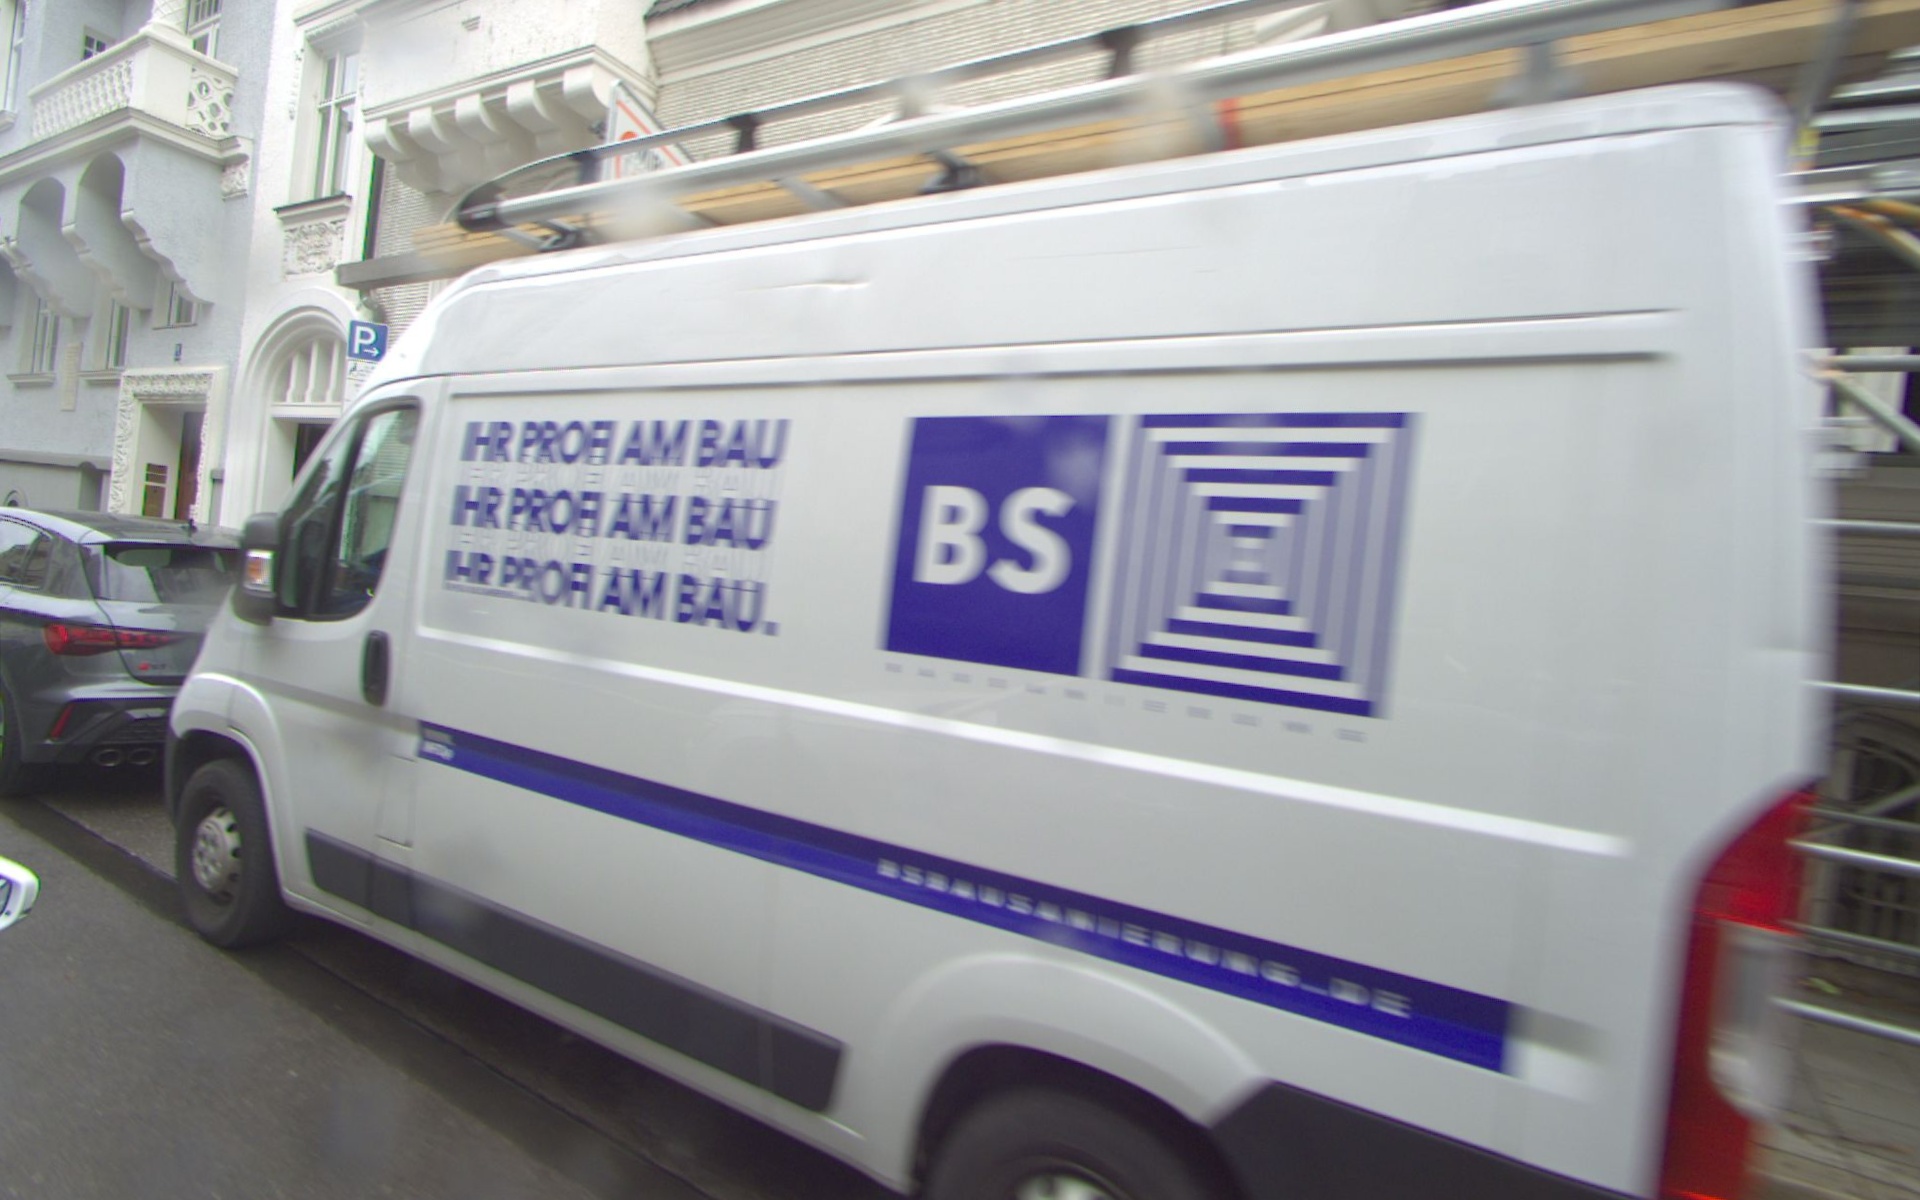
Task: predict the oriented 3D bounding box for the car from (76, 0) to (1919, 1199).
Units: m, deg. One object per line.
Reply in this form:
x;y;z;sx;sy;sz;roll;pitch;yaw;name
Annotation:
-0.503;0.066;3.322;5.355;2.724;2.077;7;2;32;car

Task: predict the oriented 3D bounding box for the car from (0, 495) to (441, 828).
-5.394;0.147;6.297;4.173;1.425;1.790;7;0;31;car
